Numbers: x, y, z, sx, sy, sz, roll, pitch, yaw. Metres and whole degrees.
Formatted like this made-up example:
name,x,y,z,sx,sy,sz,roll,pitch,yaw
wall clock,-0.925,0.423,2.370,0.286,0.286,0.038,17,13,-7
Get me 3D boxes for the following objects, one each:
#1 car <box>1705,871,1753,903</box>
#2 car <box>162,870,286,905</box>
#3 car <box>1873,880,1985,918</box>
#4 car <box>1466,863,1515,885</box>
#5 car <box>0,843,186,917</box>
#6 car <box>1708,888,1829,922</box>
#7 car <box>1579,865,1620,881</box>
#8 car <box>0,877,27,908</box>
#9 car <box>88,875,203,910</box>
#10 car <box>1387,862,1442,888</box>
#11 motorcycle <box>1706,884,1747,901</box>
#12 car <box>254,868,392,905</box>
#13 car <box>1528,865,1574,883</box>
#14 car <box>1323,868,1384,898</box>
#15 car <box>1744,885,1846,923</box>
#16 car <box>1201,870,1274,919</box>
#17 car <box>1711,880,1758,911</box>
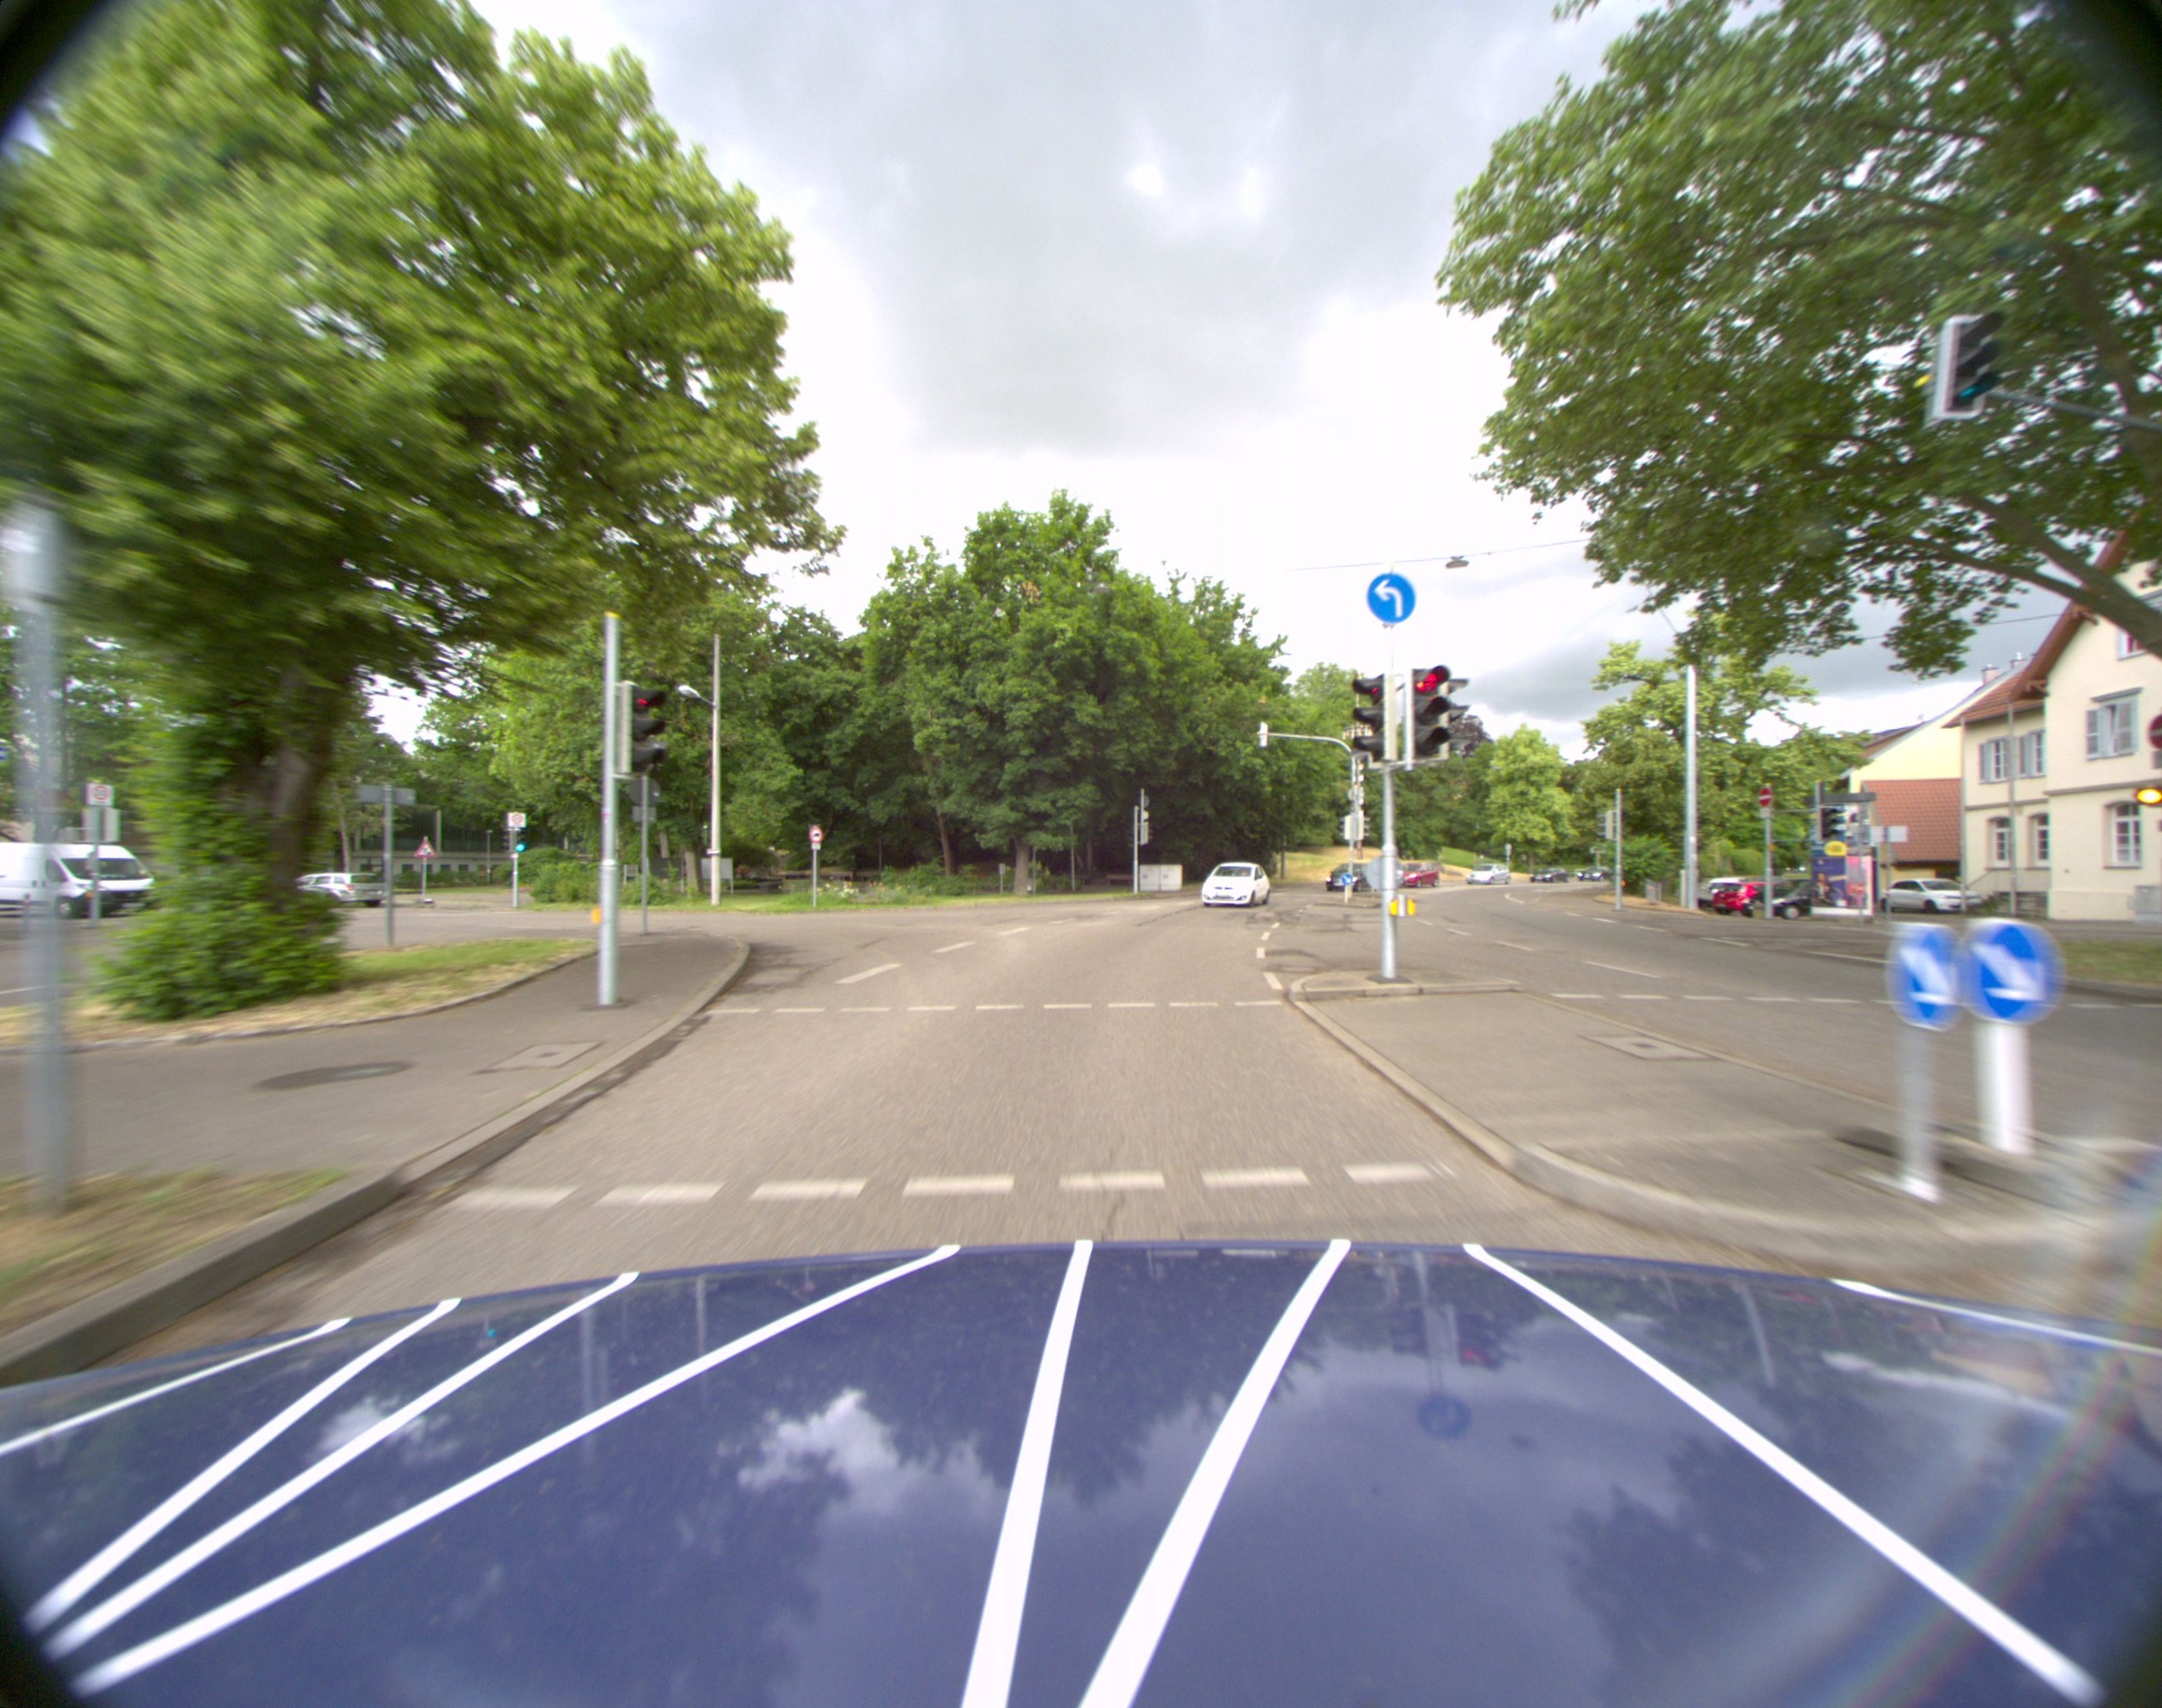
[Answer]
name,x,y,z,sx,sy,sz,roll,pitch,yaw
car,35.660,1.784,41.800,1.896,1.618,4.009,0,0,42
car,-37.500,1.457,33.275,3.952,1.447,1.803,0,0,11
car,37.596,1.963,33.808,1.651,1.483,3.486,0,0,15
car,31.353,1.510,58.111,4.008,1.559,1.779,0,0,-36
car,-34.427,0.839,25.919,5.949,2.378,2.338,0,0,10
car,29.682,2.193,32.890,3.625,1.345,1.600,0,0,5
car,47.545,1.711,69.628,3.989,1.403,1.694,0,0,-33
car,-53.588,1.868,36.417,4.394,1.447,1.927,0,0,11
car,-41.997,1.705,34.137,3.753,1.478,1.713,0,0,11
car,21.872,1.350,49.796,4.109,1.632,1.671,0,0,-41
motorcycle,33.028,1.969,38.903,1.579,0.819,0.419,0,0,44
car,-32.015,1.338,32.126,4.539,1.447,1.902,0,0,11
car,40.092,1.663,64.808,4.007,1.449,1.851,0,0,-33
car,15.126,1.548,42.064,1.726,1.512,4.009,0,0,43
car,26.502,1.851,28.207,3.404,1.302,1.481,2,0,-23
car,5.467,1.324,26.255,1.625,1.499,4.007,0,-1,24
car,38.474,2.406,44.791,1.931,1.598,3.669,0,0,38
